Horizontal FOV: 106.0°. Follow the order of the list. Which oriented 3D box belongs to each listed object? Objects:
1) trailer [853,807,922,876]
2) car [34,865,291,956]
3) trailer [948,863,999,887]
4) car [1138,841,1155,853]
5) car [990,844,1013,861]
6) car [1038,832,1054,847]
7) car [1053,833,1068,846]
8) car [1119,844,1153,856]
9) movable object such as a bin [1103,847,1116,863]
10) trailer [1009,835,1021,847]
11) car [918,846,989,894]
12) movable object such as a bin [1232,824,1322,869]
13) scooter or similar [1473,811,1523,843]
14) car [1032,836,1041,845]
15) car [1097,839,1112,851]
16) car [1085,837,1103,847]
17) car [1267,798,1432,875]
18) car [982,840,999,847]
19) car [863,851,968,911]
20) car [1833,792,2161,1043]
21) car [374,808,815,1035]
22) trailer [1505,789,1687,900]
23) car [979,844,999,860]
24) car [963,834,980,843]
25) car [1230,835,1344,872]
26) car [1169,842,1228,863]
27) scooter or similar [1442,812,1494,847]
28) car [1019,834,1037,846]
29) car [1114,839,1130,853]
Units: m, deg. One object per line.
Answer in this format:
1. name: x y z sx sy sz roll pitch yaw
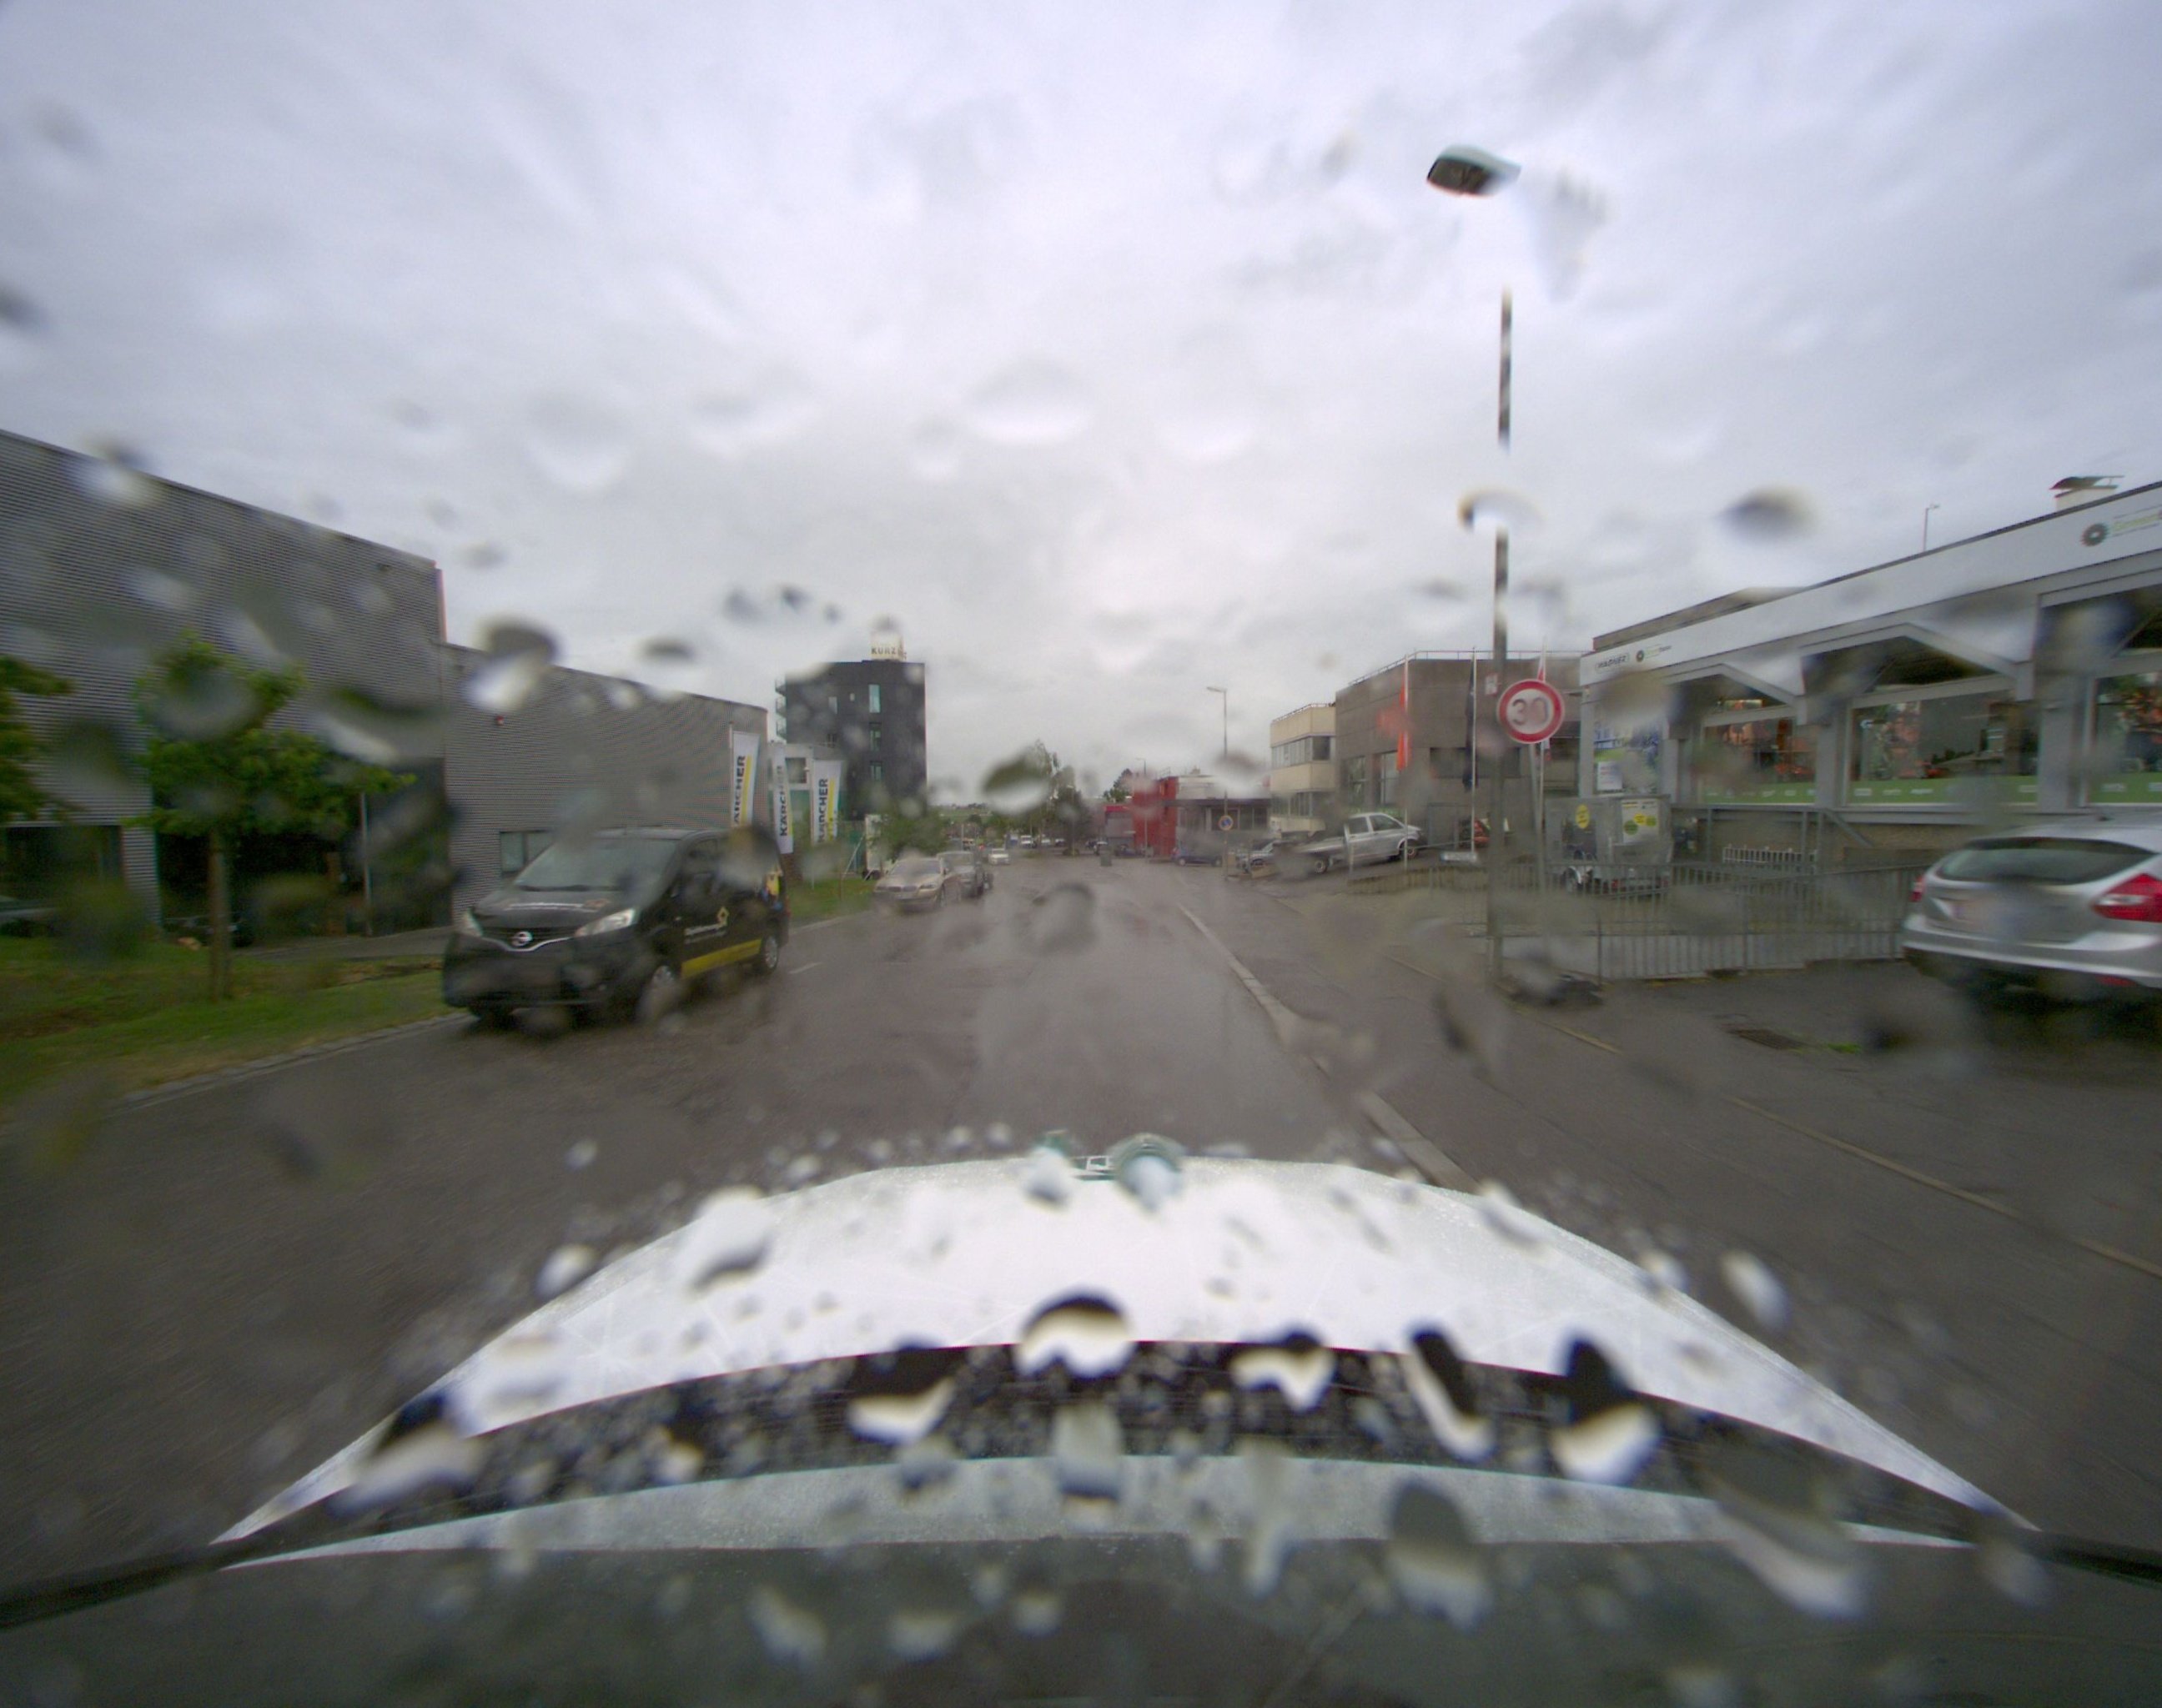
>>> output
1. trailer: -12.349 -0.761 51.818 4.132 4.203 2.019 -1 0 38
2. car: -20.848 1.214 18.558 4.182 1.771 1.941 0 4 12
3. trailer: -4.493 0.863 34.493 1.675 0.888 3.895 -1 0 -1
4. car: 8.124 -0.897 101.127 1.724 1.422 3.999 -1 0 -1
5. car: -7.662 -0.107 78.053 1.771 1.512 4.128 -2 0 -12
6. car: -5.875 -2.421 136.128 2.192 2.459 3.988 -1 0 -9
7. car: -3.441 -2.439 137.150 2.143 2.013 3.930 -1 0 -7
8. car: 5.589 -0.444 83.594 3.388 1.163 1.792 -1 1 1
9. movable object such as a bin: 2.129 0.071 60.930 0.805 1.092 0.708 -2 1 -6
10. trailer: -11.375 -2.304 139.591 1.851 2.013 3.989 -1 1 -8
11. car: -4.601 0.554 30.110 1.952 1.577 4.837 -2 0 -2
12. movable object such as a bin: 10.026 -0.381 41.775 4.240 2.110 1.477 -2 1 0
13. scooter or similar: 16.337 -1.047 31.930 1.000 1.155 1.847 -5 1 3
14. car: -7.755 -2.352 141.687 1.289 1.424 2.540 -1 0 -7
15. car: 2.944 -1.083 101.376 1.692 1.475 3.999 -1 0 -1
16. car: 1.949 -1.838 123.459 2.544 1.352 1.240 -1 1 -6
17. car: 9.996 -0.634 30.652 5.283 2.013 2.221 -9 0 -1
18. car: -20.173 -2.272 180.839 2.474 1.539 3.965 -1 0 -27
19. car: -4.647 0.699 23.733 1.950 1.461 5.247 -1 1 0
20. car: 8.733 0.292 6.227 4.108 1.574 2.003 -3 0 -1
21. car: -4.773 0.534 9.089 1.909 1.831 4.849 -1 0 1
22. trailer: 12.588 -0.272 20.276 1.880 2.416 4.310 -1 2 1
23. car: -10.059 -0.266 88.775 1.702 1.609 3.983 -3 2 -13
24. car: -28.859 -3.954 214.626 4.220 2.225 2.003 -1 0 5
25. car: 10.025 -0.048 39.847 5.077 1.613 1.924 -2 1 -2
26. car: 8.159 -0.123 56.728 3.884 1.383 1.820 1 0 -2
27. scooter or similar: 15.121 -0.968 31.864 1.060 1.224 2.066 -5 2 3
28. car: -8.871 -2.315 135.635 2.269 2.013 3.978 -1 0 -16
29. car: 5.063 -1.003 102.027 1.734 1.653 3.999 -1 0 -1
